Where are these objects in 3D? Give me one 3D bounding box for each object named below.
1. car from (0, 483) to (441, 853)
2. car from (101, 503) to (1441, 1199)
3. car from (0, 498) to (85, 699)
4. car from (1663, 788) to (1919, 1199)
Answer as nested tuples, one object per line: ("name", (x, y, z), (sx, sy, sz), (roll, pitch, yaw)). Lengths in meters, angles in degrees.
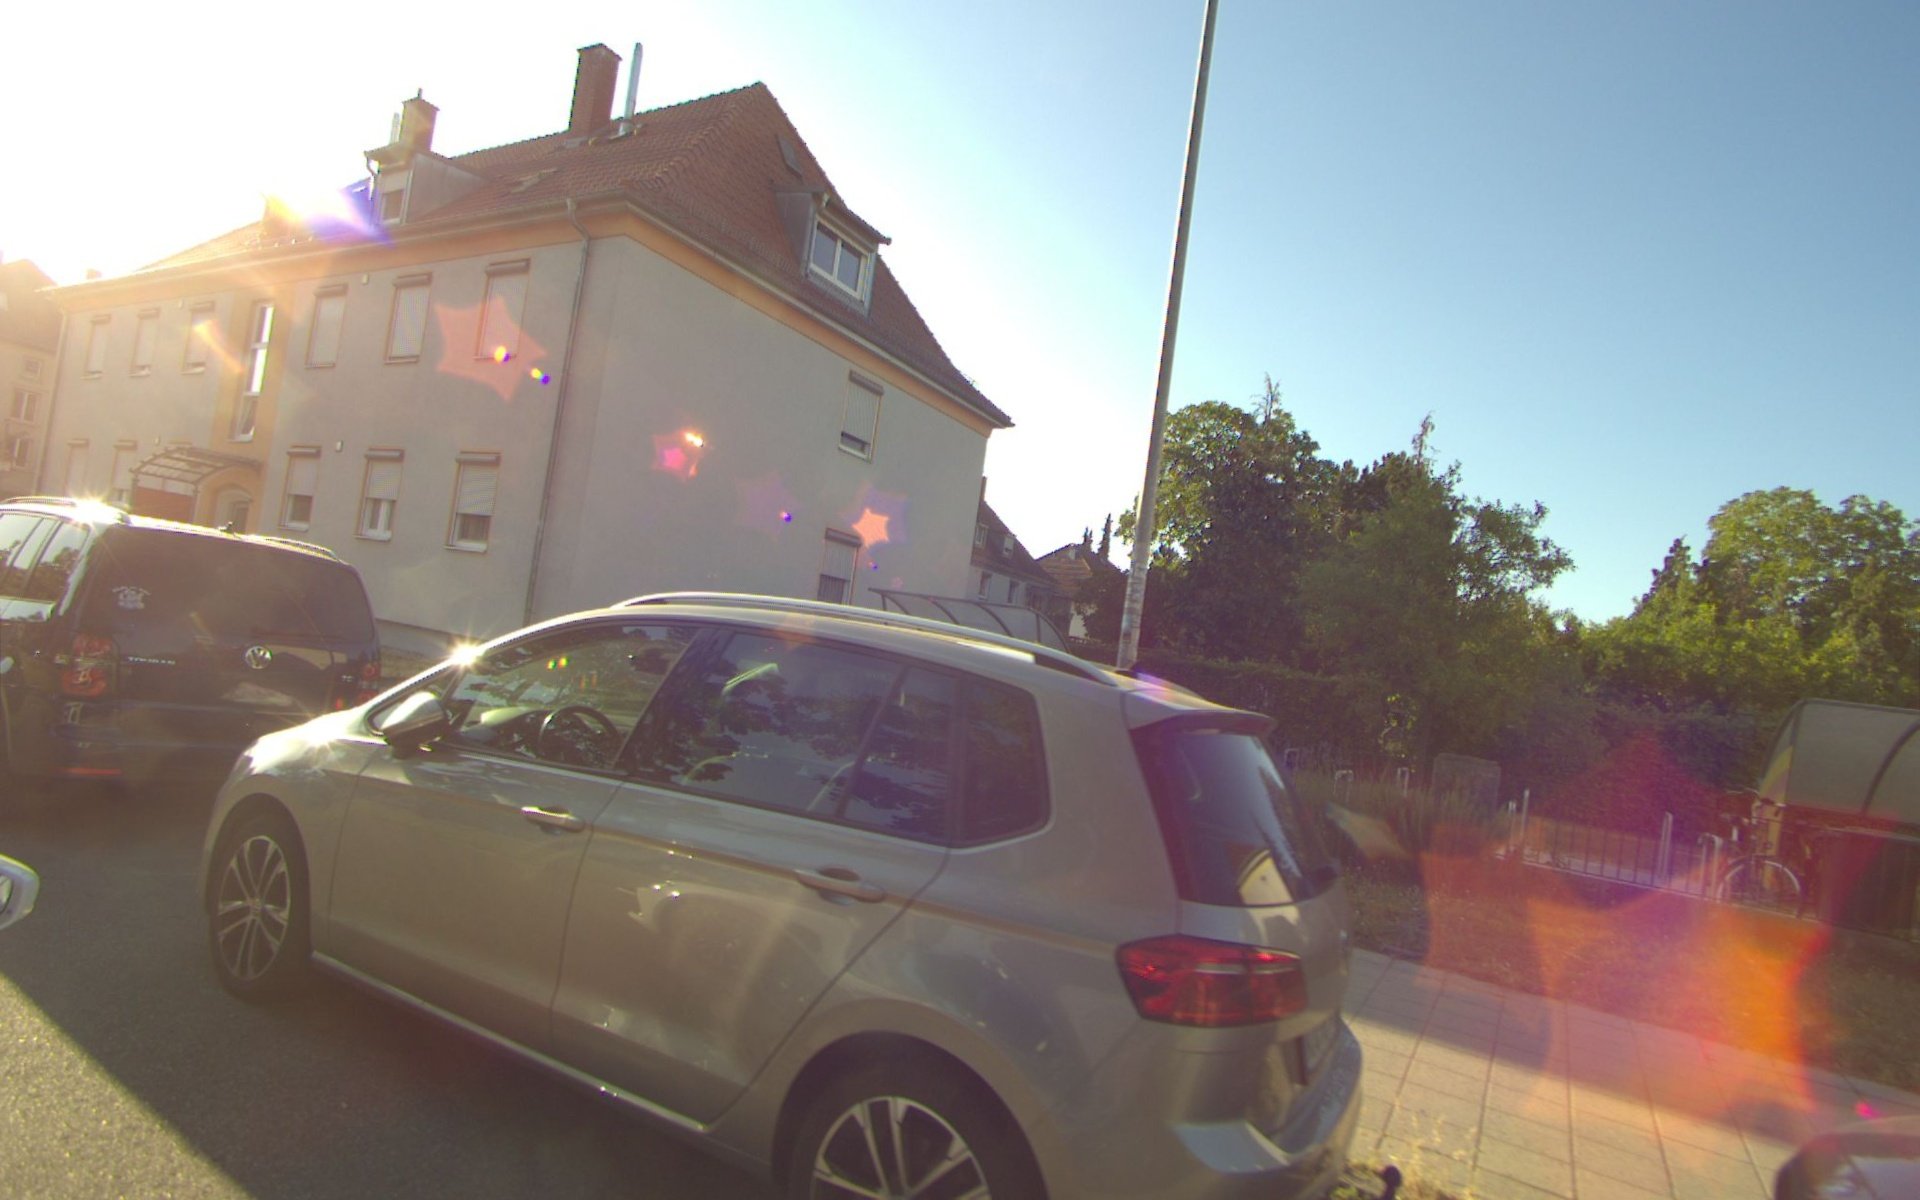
("car", (-5.683, 0.240, 6.506), (4.685, 1.651, 1.771), (6, -5, 31))
("car", (-0.837, 0.744, 3.525), (4.341, 1.578, 1.731), (7, -4, 29))
("car", (-10.229, -0.275, 9.273), (4.677, 1.661, 1.782), (6, -3, 31))
("car", (3.515, 1.360, 0.955), (4.487, 1.477, 2.000), (7, -5, 33))
